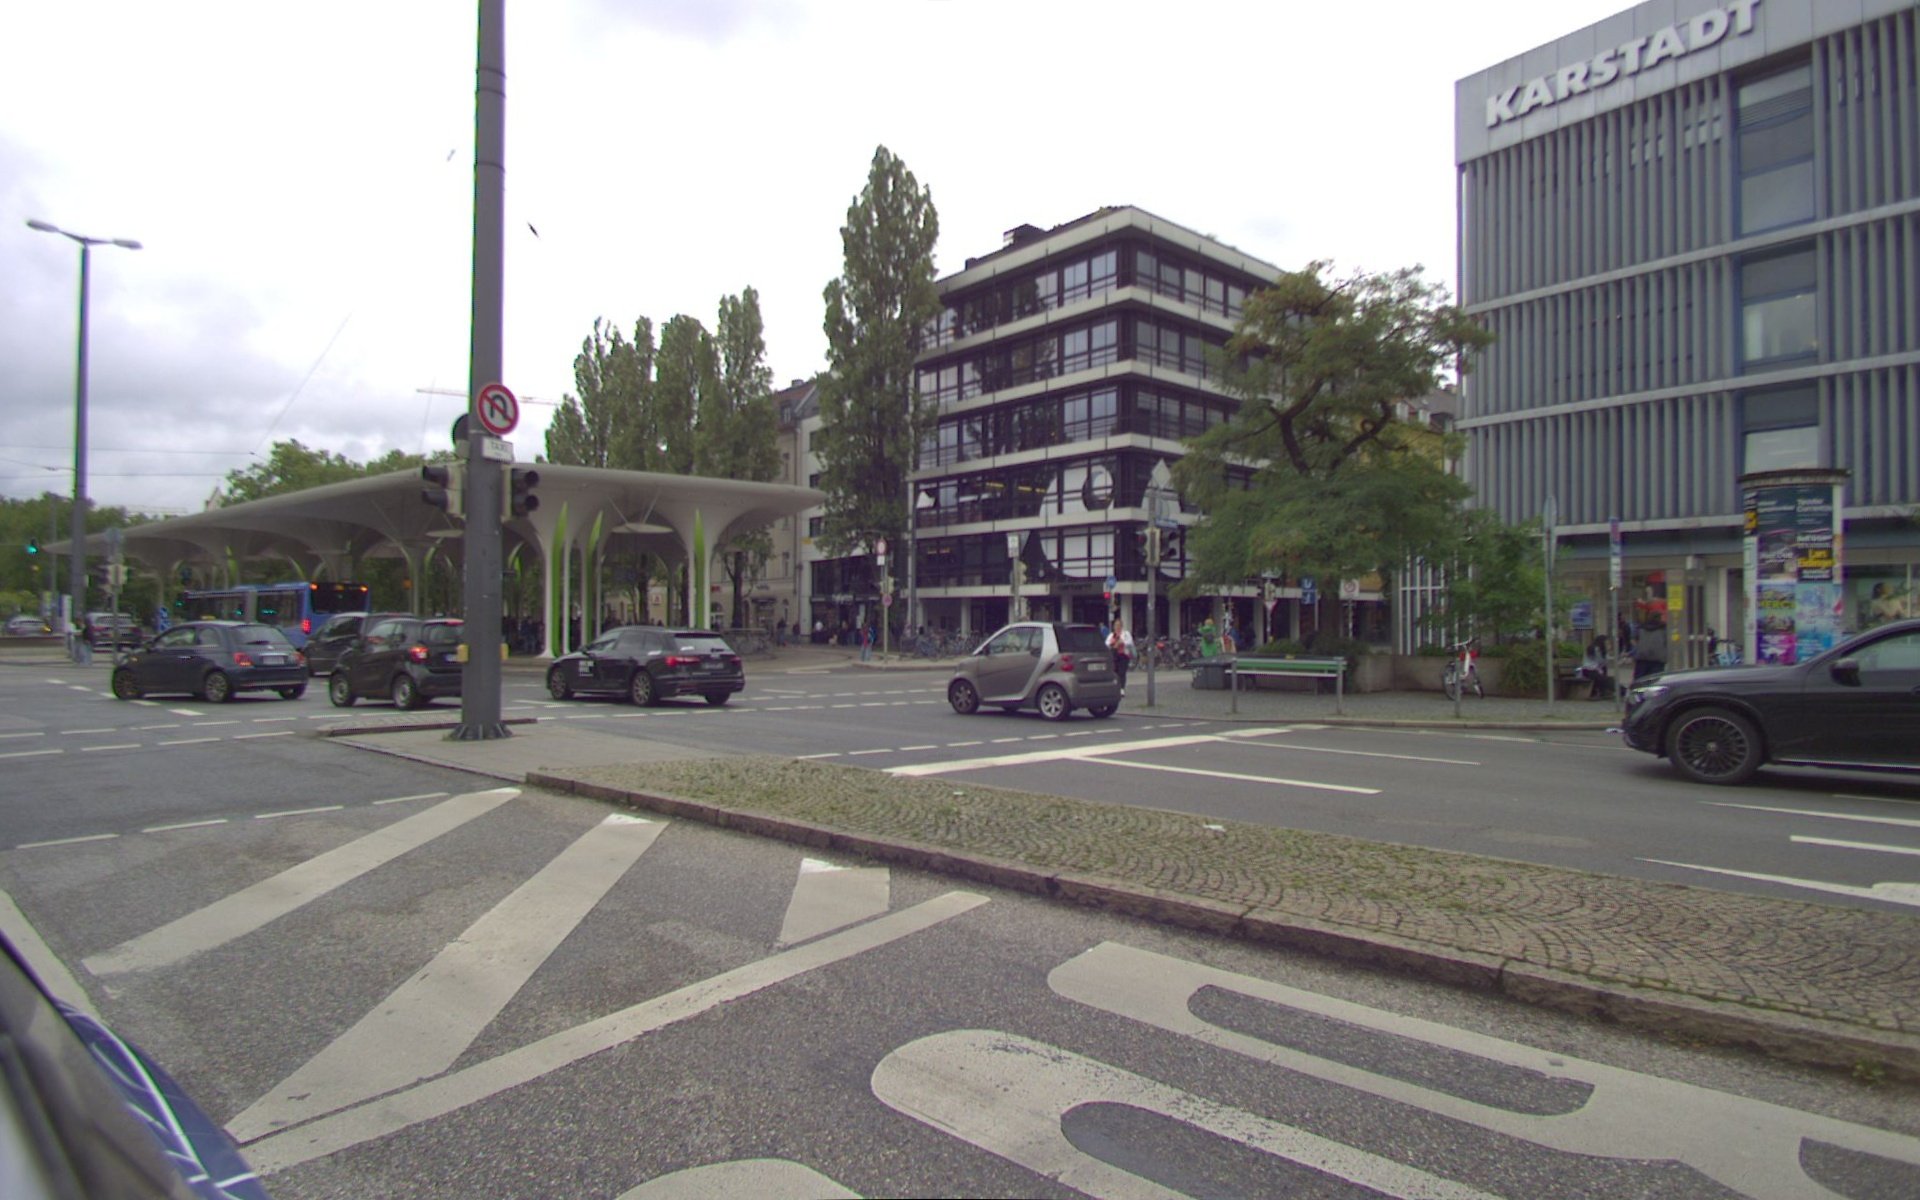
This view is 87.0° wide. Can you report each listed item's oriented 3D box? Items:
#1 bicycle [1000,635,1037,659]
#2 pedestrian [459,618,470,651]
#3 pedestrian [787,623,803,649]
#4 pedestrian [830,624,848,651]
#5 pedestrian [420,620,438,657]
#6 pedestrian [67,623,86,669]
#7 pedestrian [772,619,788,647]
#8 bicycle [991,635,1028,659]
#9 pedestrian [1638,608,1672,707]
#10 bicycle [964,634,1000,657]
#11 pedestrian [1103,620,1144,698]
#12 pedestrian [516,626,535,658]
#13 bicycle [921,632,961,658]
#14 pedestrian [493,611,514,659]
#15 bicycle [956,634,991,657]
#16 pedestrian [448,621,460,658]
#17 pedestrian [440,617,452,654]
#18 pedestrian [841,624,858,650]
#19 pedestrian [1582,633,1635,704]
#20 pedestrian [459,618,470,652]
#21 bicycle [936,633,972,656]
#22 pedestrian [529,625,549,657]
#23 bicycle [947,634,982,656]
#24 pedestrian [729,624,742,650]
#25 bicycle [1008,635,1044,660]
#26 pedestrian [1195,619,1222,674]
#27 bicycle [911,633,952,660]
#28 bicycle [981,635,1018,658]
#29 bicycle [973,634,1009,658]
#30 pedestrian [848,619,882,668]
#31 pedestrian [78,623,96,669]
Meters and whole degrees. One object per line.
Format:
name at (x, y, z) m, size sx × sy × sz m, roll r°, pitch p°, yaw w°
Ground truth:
bicycle at (2.875, 2.295, 49.597) m, size 2.044 × 1.142 × 0.561 m, roll 2°, pitch -2°, yaw -45°
pedestrian at (-20.620, 1.432, 42.108) m, size 0.257 × 1.387 × 0.299 m, roll -1°, pitch -2°, yaw 38°
pedestrian at (-10.942, 2.403, 67.042) m, size 0.821 × 1.712 × 0.907 m, roll 1°, pitch -2°, yaw -28°
pedestrian at (-7.906, 2.441, 66.114) m, size 0.788 × 1.737 × 0.827 m, roll 1°, pitch -2°, yaw -38°
pedestrian at (-21.793, 1.575, 41.510) m, size 0.422 × 1.514 × 0.487 m, roll 0°, pitch -2°, yaw 13°
pedestrian at (-27.739, 1.428, 31.775) m, size 0.380 × 1.430 × 0.352 m, roll -1°, pitch -2°, yaw 40°
pedestrian at (-11.629, 2.144, 65.423) m, size 0.939 × 1.786 × 0.984 m, roll 0°, pitch -2°, yaw -4°
bicycle at (2.457, 2.298, 50.052) m, size 2.044 × 1.142 × 0.561 m, roll 2°, pitch -2°, yaw -45°
pedestrian at (12.314, 1.007, 17.935) m, size 0.459 × 1.712 × 0.426 m, roll -1°, pitch 0°, yaw 40°
bicycle at (1.131, 2.307, 51.358) m, size 2.044 × 1.142 × 0.561 m, roll 2°, pitch -2°, yaw -45°
pedestrian at (3.361, 1.197, 20.756) m, size 0.754 × 1.563 × 0.636 m, roll -1°, pitch 0°, yaw 15°
pedestrian at (-18.338, 1.771, 42.720) m, size 0.591 × 1.348 × 0.542 m, roll -1°, pitch -2°, yaw 40°
bicycle at (-0.818, 1.931, 43.540) m, size 1.660 × 1.106 × 0.470 m, roll 0°, pitch -2°, yaw 16°
pedestrian at (-18.143, 1.392, 40.196) m, size 0.656 × 1.865 × 0.790 m, roll 1°, pitch -2°, yaw -30°
bicycle at (0.703, 2.310, 51.801) m, size 2.044 × 1.142 × 0.561 m, roll 2°, pitch -2°, yaw -45°
pedestrian at (-20.955, 1.628, 41.917) m, size 0.316 × 1.514 × 0.331 m, roll -1°, pitch -2°, yaw 31°
pedestrian at (-21.228, 1.481, 41.774) m, size 0.316 × 1.514 × 0.317 m, roll -1°, pitch -2°, yaw 31°
pedestrian at (-7.325, 2.431, 66.847) m, size 0.788 × 1.737 × 0.827 m, roll 1°, pitch -2°, yaw -38°
pedestrian at (12.477, 1.299, 19.484) m, size 0.773 × 1.318 × 0.537 m, roll -1°, pitch -2°, yaw 41°
pedestrian at (-20.438, 1.432, 41.722) m, size 0.270 × 1.387 × 0.299 m, roll -1°, pitch -2°, yaw 38°
bicycle at (-0.305, 2.317, 52.709) m, size 2.044 × 1.142 × 0.561 m, roll 2°, pitch -2°, yaw -45°
pedestrian at (-18.018, 1.766, 43.321) m, size 0.591 × 1.348 × 0.542 m, roll -1°, pitch -2°, yaw 40°
bicycle at (0.247, 2.313, 52.220) m, size 2.044 × 1.142 × 0.561 m, roll 2°, pitch -2°, yaw -45°
pedestrian at (-15.246, 2.522, 68.804) m, size 0.822 × 1.712 × 0.907 m, roll 0°, pitch -2°, yaw -13°
bicycle at (3.217, 2.294, 49.085) m, size 2.044 × 1.142 × 0.561 m, roll 2°, pitch -2°, yaw -45°
pedestrian at (8.016, 1.499, 32.652) m, size 0.647 × 1.748 × 0.757 m, roll -1°, pitch -2°, yaw 33°
bicycle at (-1.196, 1.940, 42.182) m, size 1.660 × 1.106 × 0.470 m, roll 0°, pitch -2°, yaw 16°
bicycle at (1.983, 2.301, 50.526) m, size 2.044 × 1.142 × 0.561 m, roll 2°, pitch -2°, yaw -45°
bicycle at (1.567, 2.304, 50.937) m, size 2.044 × 1.142 × 0.561 m, roll 2°, pitch -2°, yaw -45°
pedestrian at (-3.612, 1.640, 38.398) m, size 0.980 × 1.791 × 0.850 m, roll -1°, pitch -2°, yaw 41°
pedestrian at (-27.334, 1.423, 31.690) m, size 0.380 × 1.430 × 0.352 m, roll -1°, pitch -2°, yaw 40°
